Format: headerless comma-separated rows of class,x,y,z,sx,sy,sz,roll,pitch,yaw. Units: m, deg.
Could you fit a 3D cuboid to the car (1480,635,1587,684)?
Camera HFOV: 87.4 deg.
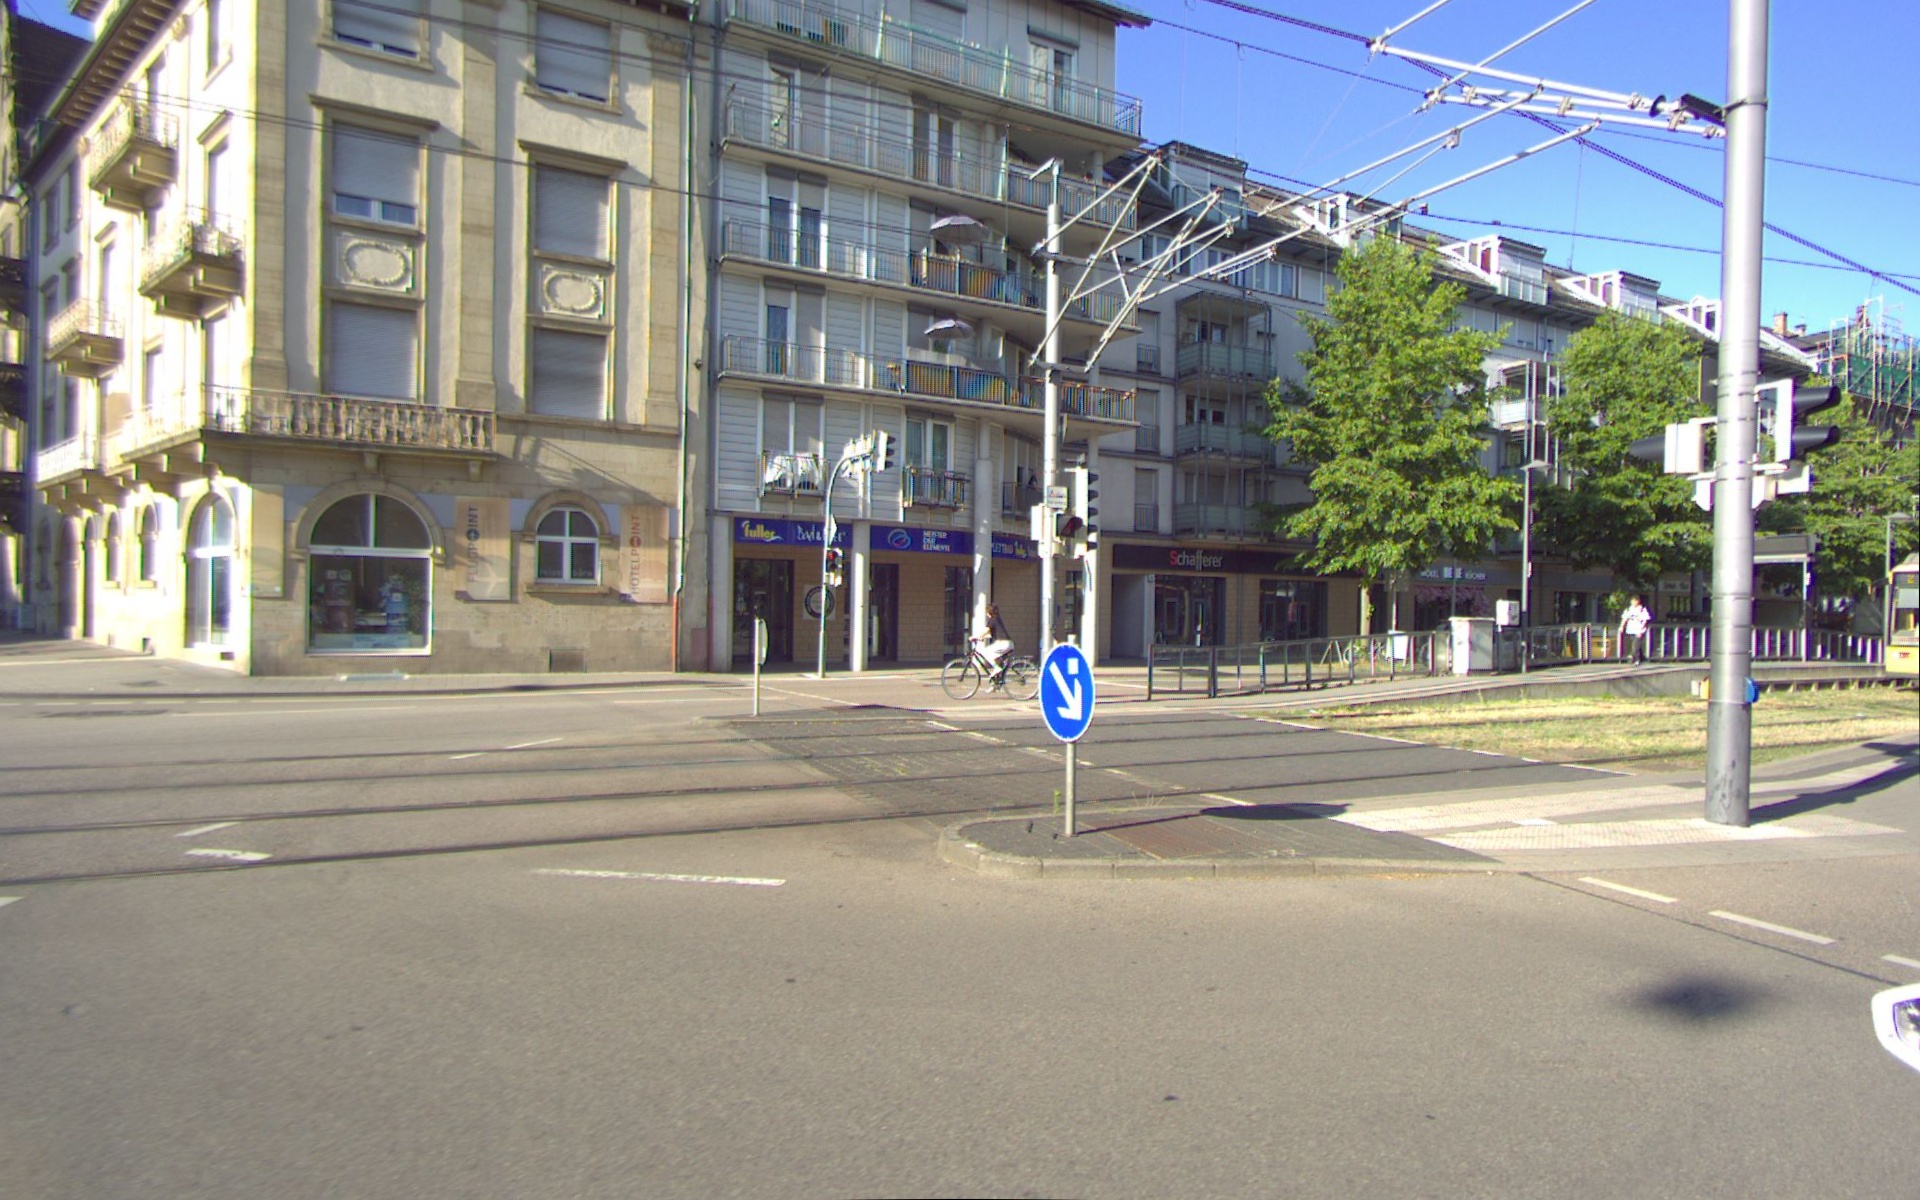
car,22.086,2.263,38.658,3.737,1.699,1.799,2,1,-28

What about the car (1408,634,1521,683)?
car,18.451,2.107,36.709,3.737,1.599,1.799,2,1,-28

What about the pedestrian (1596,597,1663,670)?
pedestrian,15.434,0.765,23.159,0.947,1.602,0.895,2,1,-29

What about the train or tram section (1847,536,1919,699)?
train or tram section,28.347,0.610,26.123,14.373,3.724,2.859,2,-1,-27

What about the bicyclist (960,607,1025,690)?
bicyclist,0.567,0.827,17.472,0.998,1.390,0.535,2,1,14

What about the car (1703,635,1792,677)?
car,35.959,2.548,45.864,3.737,1.752,1.799,2,1,-28

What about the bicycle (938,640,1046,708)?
bicycle,0.560,1.268,17.467,1.788,1.068,0.535,2,1,14

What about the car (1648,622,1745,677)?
car,32.217,2.166,43.942,3.737,2.195,1.933,2,1,-28

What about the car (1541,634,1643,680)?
car,25.494,2.297,40.488,3.737,1.657,1.799,2,1,-28

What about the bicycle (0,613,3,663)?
bicycle,-24.625,0.929,24.255,0.520,1.207,2.119,3,1,36
